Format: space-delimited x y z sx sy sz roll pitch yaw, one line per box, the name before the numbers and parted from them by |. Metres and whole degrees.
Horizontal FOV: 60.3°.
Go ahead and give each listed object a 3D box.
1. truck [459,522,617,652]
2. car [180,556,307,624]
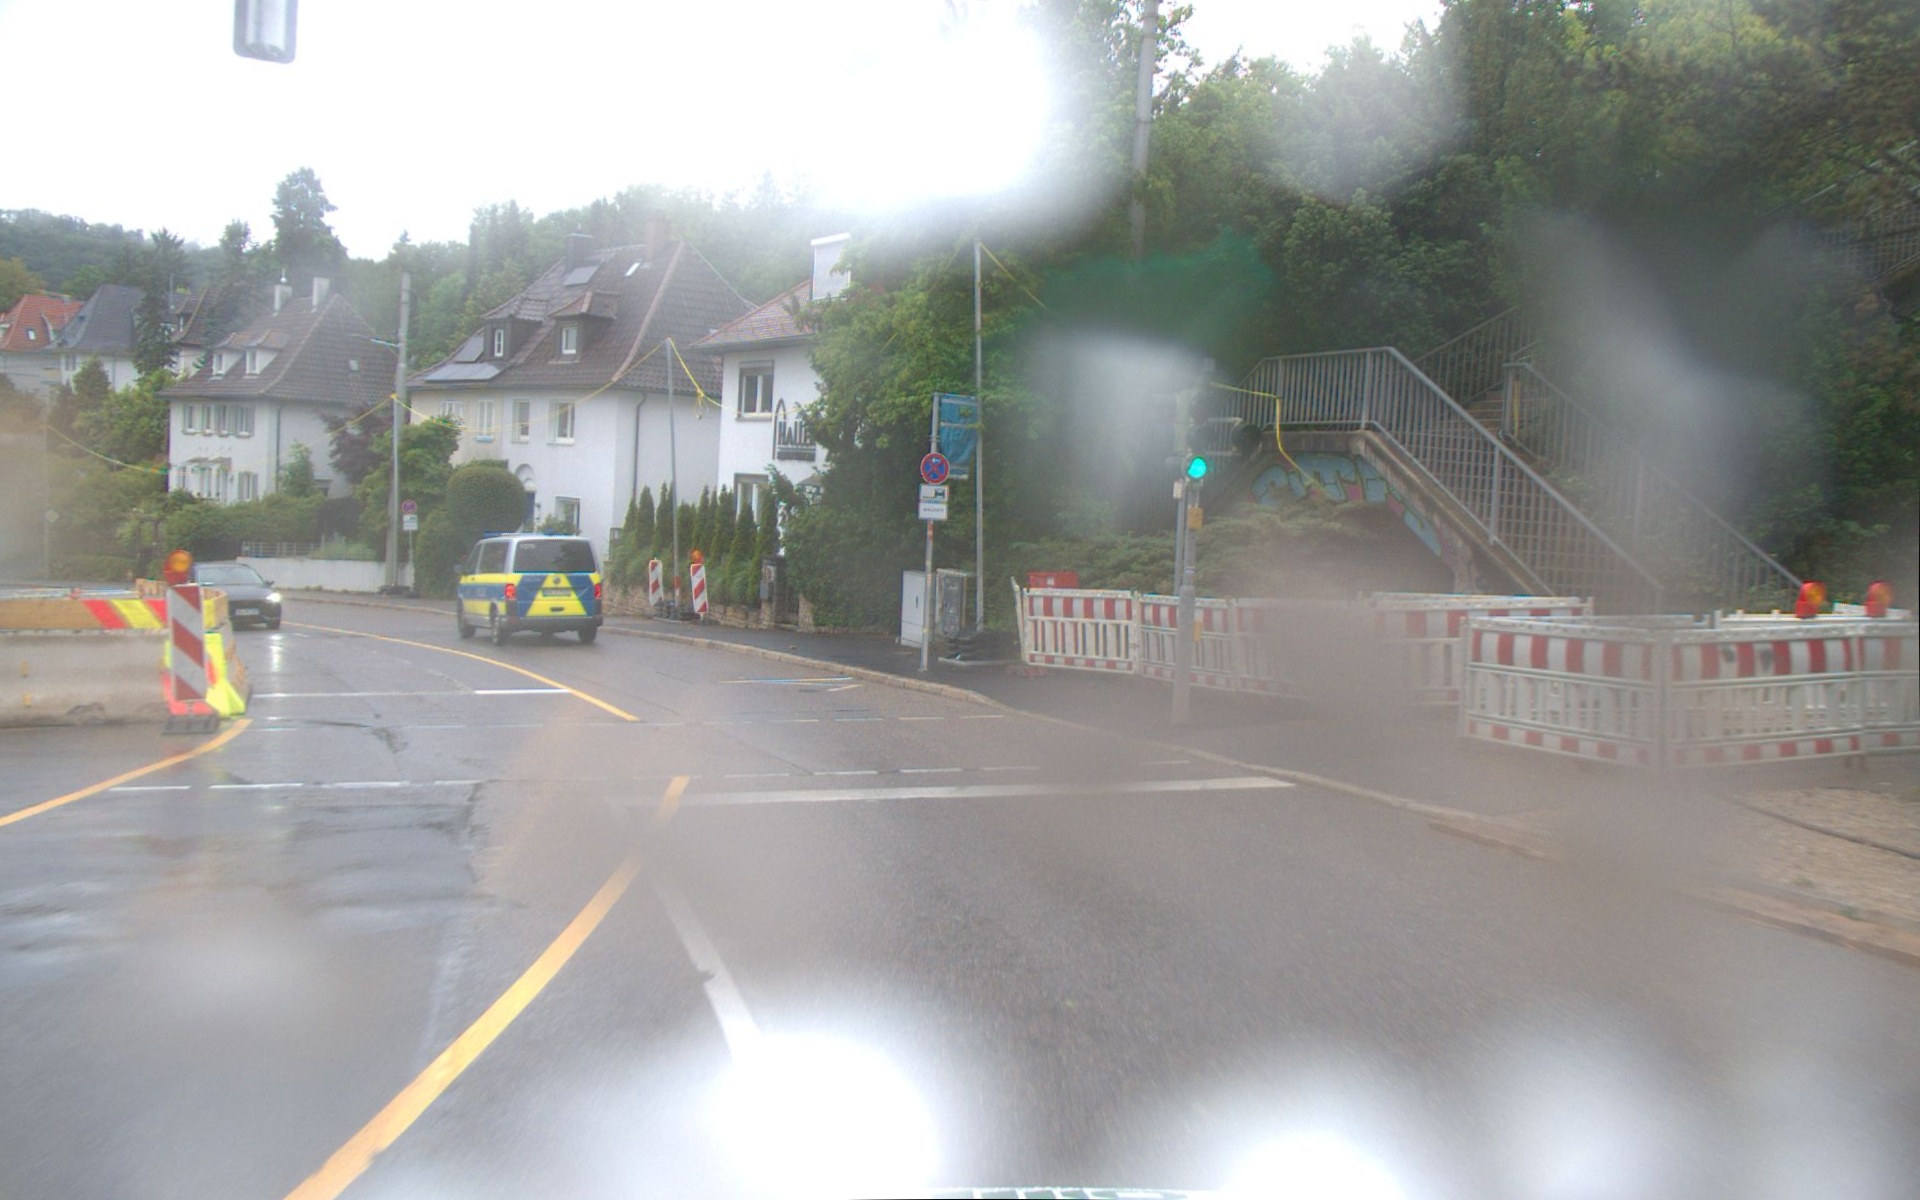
truck | -8.072 -0.328 31.311 1.969 2.047 4.697 0 5 -26
car | -16.515 -0.266 38.003 1.770 1.427 4.310 0 1 -36
